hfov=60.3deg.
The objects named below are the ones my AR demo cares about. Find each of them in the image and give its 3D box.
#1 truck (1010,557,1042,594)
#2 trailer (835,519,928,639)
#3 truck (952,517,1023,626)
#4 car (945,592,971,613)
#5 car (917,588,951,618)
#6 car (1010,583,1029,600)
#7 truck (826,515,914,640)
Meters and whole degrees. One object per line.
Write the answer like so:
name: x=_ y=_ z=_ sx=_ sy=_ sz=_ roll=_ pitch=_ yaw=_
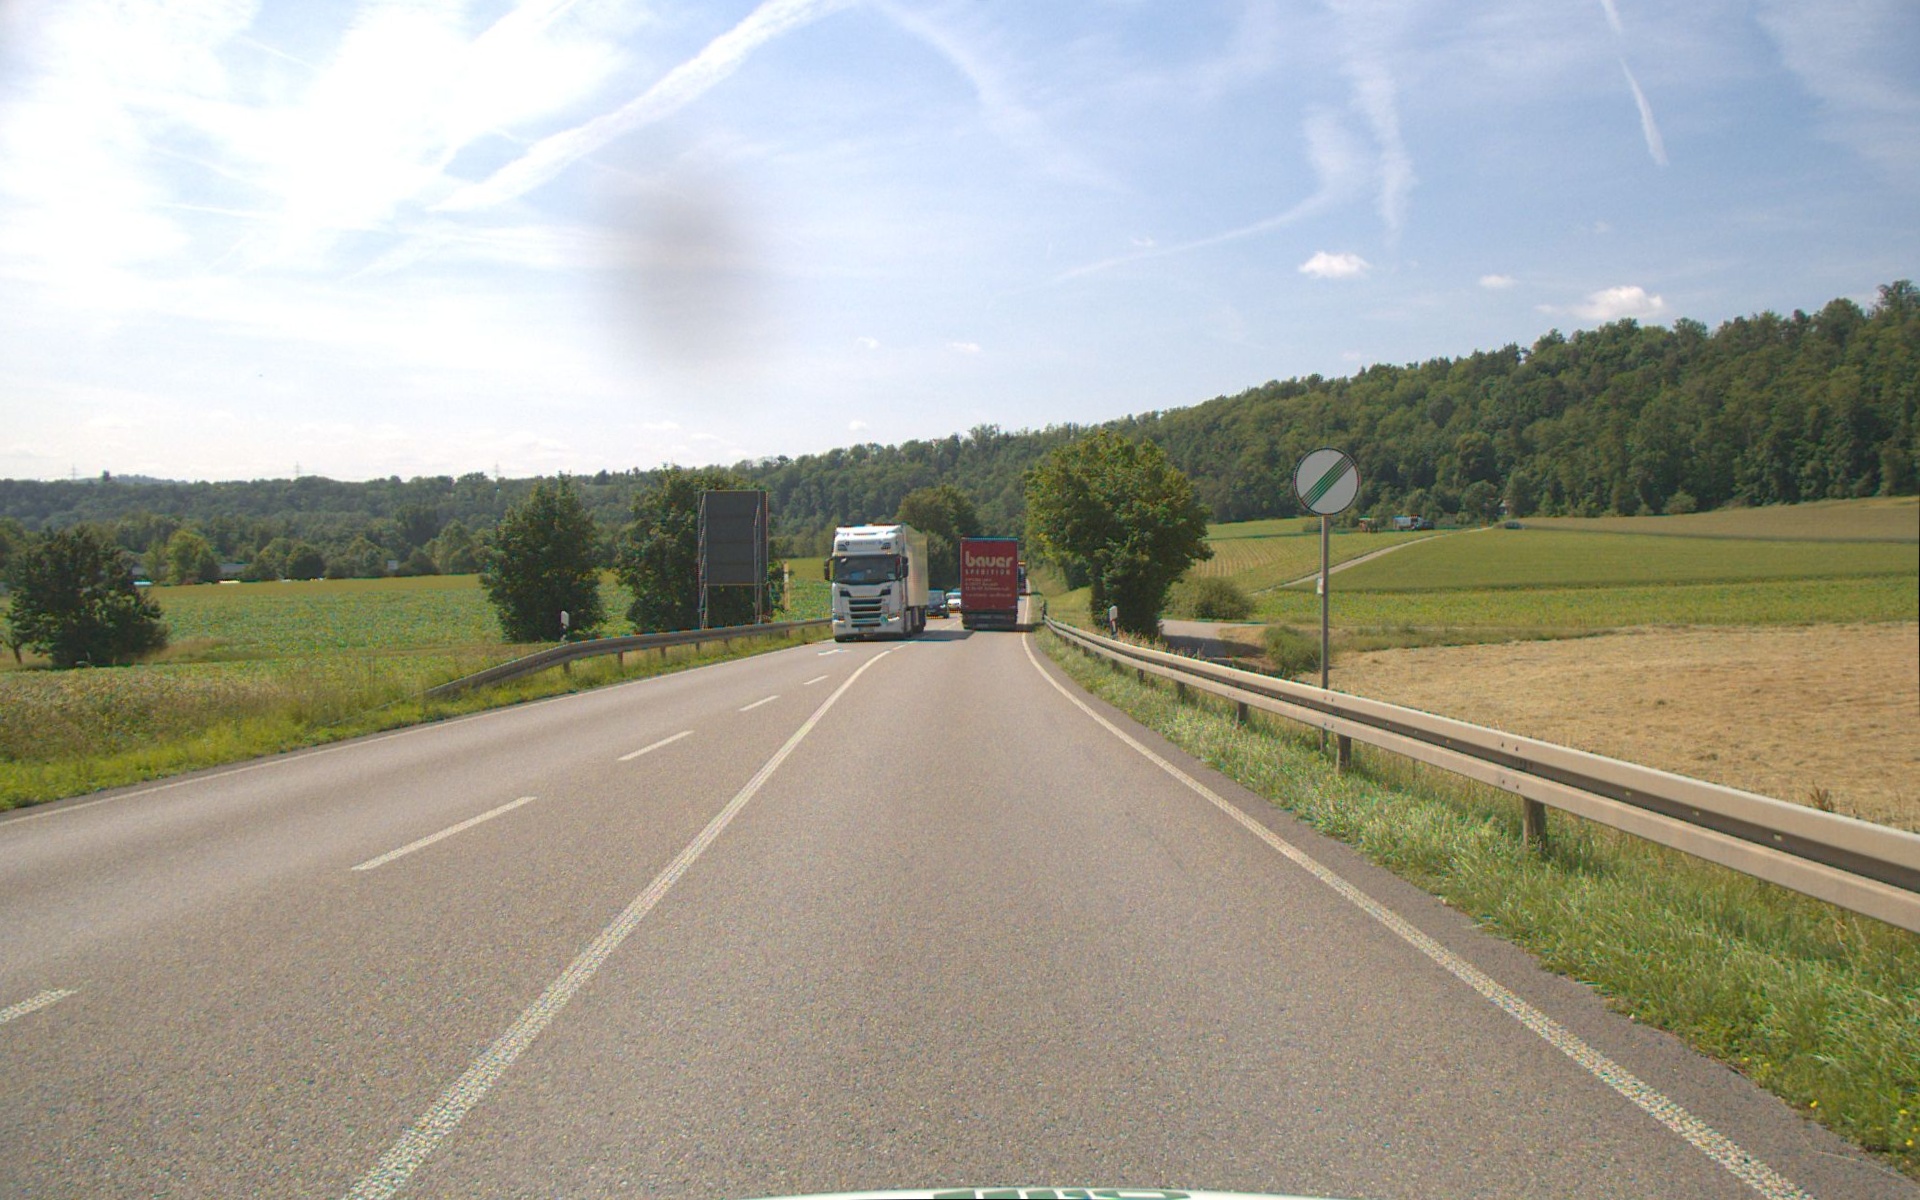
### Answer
truck: x=8.531 y=-3.133 z=216.444 sx=3.824 sy=4.445 sz=13.295 roll=2 pitch=0 yaw=1
trailer: x=-2.933 y=-0.754 z=66.020 sx=2.455 sy=4.191 sz=13.902 roll=-2 pitch=0 yaw=2
truck: x=1.218 y=-1.320 z=78.438 sx=3.107 sy=4.706 sz=13.544 roll=0 pitch=1 yaw=0
car: x=-0.146 y=0.177 z=124.253 sx=1.695 sy=1.459 sz=3.917 roll=-3 pitch=0 yaw=2
car: x=-1.599 y=0.167 z=102.724 sx=1.791 sy=1.752 sz=4.364 roll=-2 pitch=0 yaw=2
car: x=6.628 y=-0.971 z=185.834 sx=1.953 sy=1.841 sz=4.000 roll=3 pitch=0 yaw=1
truck: x=-3.157 y=-0.772 z=59.324 sx=2.477 sy=4.191 sz=6.022 roll=-2 pitch=0 yaw=2
